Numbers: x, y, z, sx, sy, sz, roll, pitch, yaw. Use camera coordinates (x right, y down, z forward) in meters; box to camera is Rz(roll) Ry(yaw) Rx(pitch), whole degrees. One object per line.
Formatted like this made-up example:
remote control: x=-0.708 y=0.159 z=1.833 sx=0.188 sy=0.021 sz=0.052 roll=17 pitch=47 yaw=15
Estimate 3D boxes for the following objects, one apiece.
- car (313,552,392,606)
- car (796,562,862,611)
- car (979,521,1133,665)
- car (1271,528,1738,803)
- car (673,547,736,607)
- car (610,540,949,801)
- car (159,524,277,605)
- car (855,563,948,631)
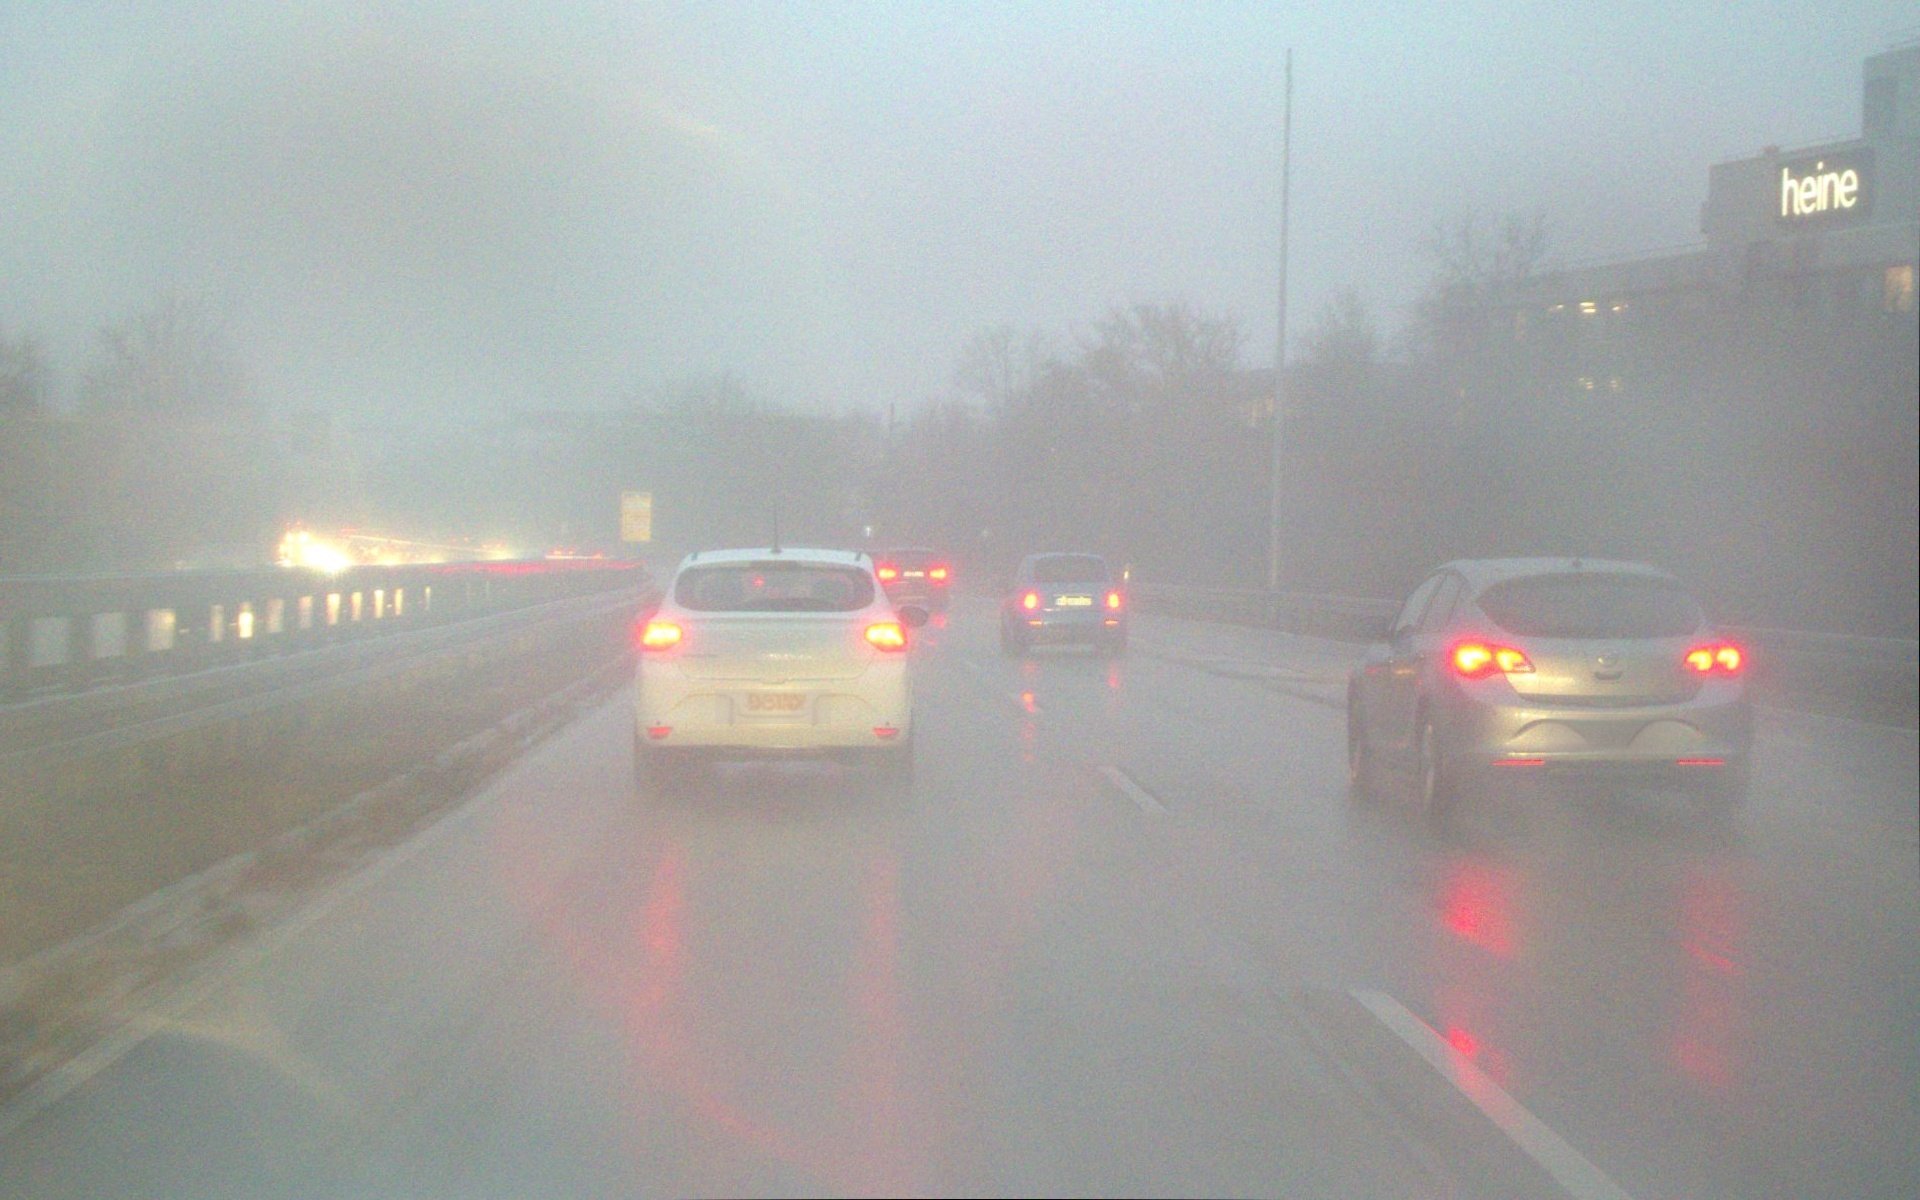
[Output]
car: x=-18.789 y=-0.662 z=106.489 sx=1.866 sy=1.622 sz=4.780 roll=1 pitch=1 yaw=-4
car: x=-4.271 y=-0.451 z=111.738 sx=1.932 sy=1.541 sz=3.774 roll=1 pitch=1 yaw=-5
car: x=1.373 y=-0.112 z=50.544 sx=1.932 sy=2.012 sz=3.774 roll=1 pitch=1 yaw=-3
car: x=3.193 y=0.340 z=21.036 sx=1.849 sy=1.496 sz=4.263 roll=1 pitch=1 yaw=-5
car: x=-8.771 y=-0.798 z=118.204 sx=1.993 sy=2.007 sz=4.000 roll=1 pitch=1 yaw=-2
car: x=-1.296 y=0.410 z=22.968 sx=2.024 sy=1.569 sz=4.001 roll=1 pitch=1 yaw=-6
car: x=-15.378 y=-0.735 z=71.399 sx=1.726 sy=1.602 sz=4.179 roll=1 pitch=1 yaw=-3
car: x=-1.515 y=-0.080 z=87.960 sx=1.932 sy=1.541 sz=3.774 roll=-5 pitch=1 yaw=-6
